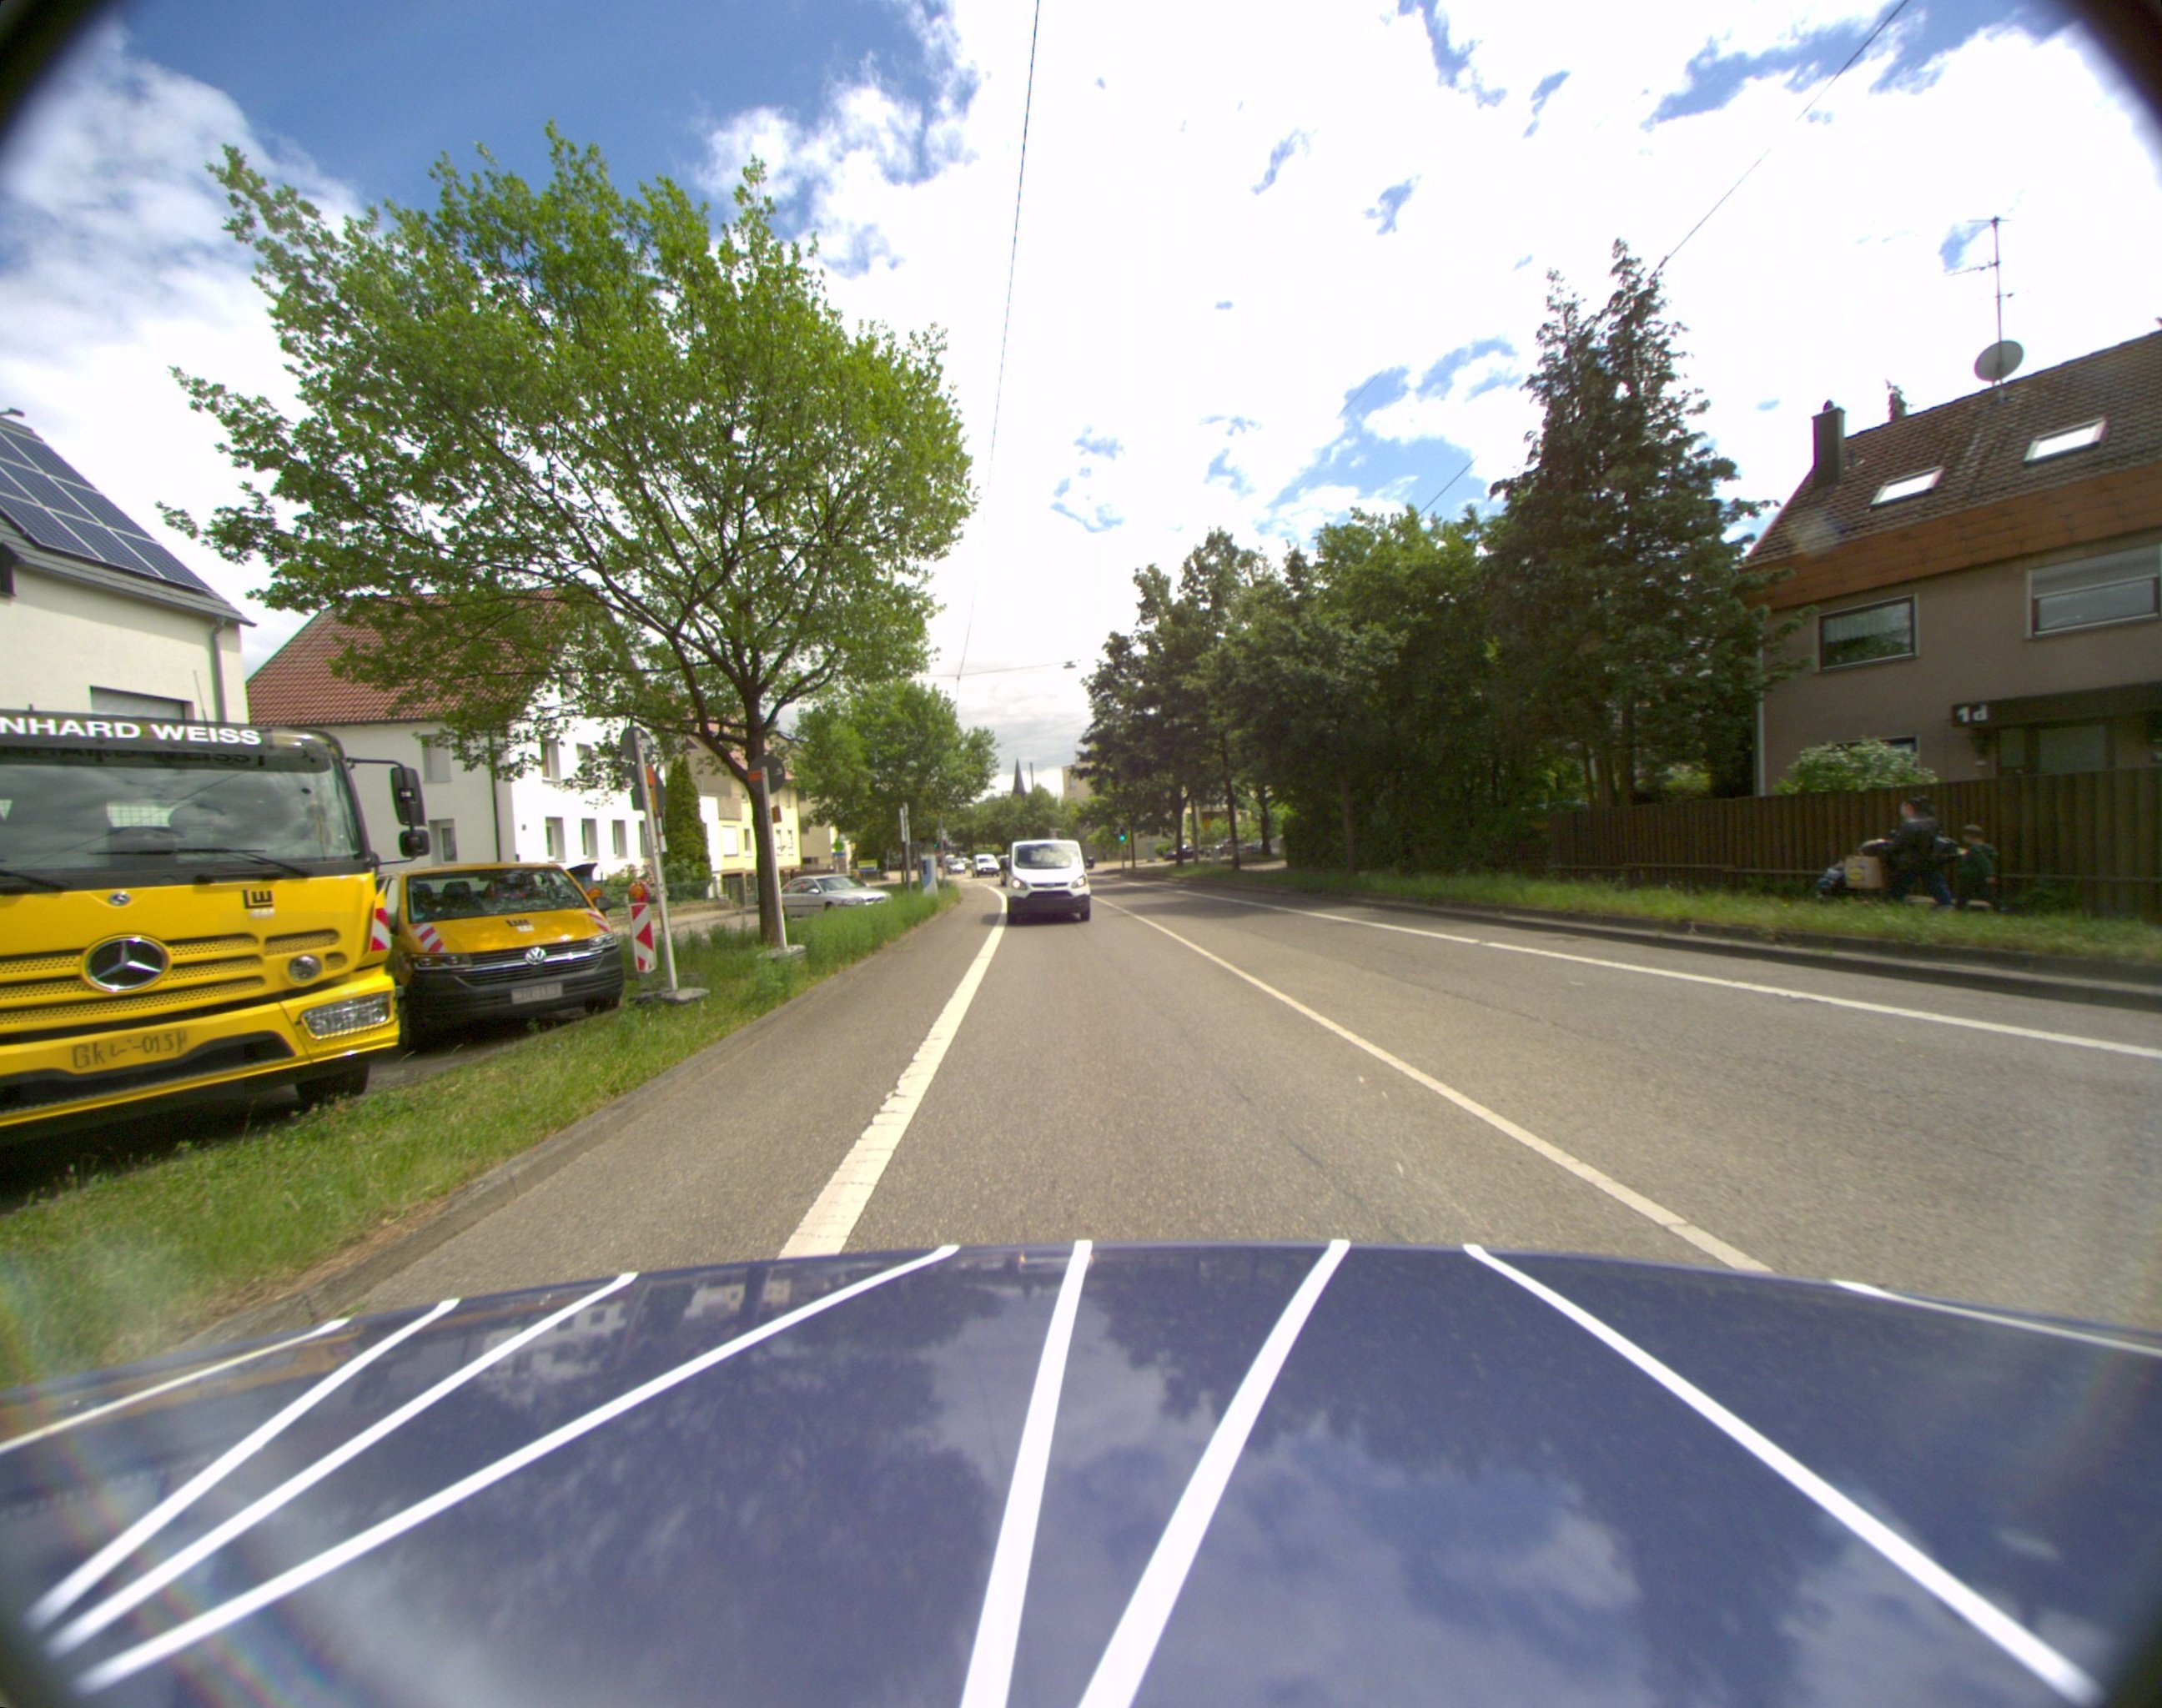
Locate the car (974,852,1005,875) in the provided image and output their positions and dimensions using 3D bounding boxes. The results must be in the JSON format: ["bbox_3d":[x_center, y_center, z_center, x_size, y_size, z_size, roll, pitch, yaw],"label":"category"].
[{"bbox_3d":[-7.465,0.730,61.476,2.000,1.719,4.099,-3,1,-13],"label":"car"}]

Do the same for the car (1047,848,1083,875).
[{"bbox_3d":[-1.205,0.492,54.164,1.830,1.772,4.620,-3,1,-10],"label":"car"}]

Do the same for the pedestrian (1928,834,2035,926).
[{"bbox_3d":[11.225,0.305,9.487,0.556,1.080,0.641,-3,1,-3],"label":"pedestrian"}]

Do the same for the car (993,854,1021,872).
[{"bbox_3d":[-7.662,0.929,78.697,2.001,1.719,4.097,-4,1,-18],"label":"car"}]

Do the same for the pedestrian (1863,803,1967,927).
[{"bbox_3d":[10.417,0.136,9.512,0.556,1.472,0.641,-3,1,-3],"label":"pedestrian"}]

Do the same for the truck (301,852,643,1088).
[{"bbox_3d":[-7.759,1.217,9.368,5.942,2.002,2.004,-5,0,39],"label":"truck"}]

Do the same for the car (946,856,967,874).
[{"bbox_3d":[-12.540,1.104,76.619,2.000,1.652,3.996,-3,1,-9],"label":"car"}]

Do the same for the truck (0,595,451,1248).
[{"bbox_3d":[-7.708,0.574,5.971,6.616,3.179,2.347,-6,-2,34],"label":"truck"}]

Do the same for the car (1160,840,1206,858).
[{"bbox_3d":[10.055,-0.511,74.856,4.005,1.499,1.995,-4,1,-31],"label":"car"}]

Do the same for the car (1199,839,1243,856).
[{"bbox_3d":[14.303,-0.701,77.550,4.005,1.499,1.996,-4,1,-29],"label":"car"}]

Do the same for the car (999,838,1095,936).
[{"bbox_3d":[-0.836,0.673,19.664,1.999,2.002,5.510,-4,2,-2],"label":"car"}]

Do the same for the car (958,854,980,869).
[{"bbox_3d":[-14.221,0.942,96.335,2.001,1.719,4.097,-4,1,-18],"label":"car"}]

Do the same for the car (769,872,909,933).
[{"bbox_3d":[-7.348,1.388,22.902,4.295,1.569,2.004,-1,1,40],"label":"car"}]

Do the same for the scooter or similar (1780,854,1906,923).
[{"bbox_3d":[10.359,0.447,10.365,0.638,0.860,1.030,-3,1,-3],"label":"scooter or similar"}]
